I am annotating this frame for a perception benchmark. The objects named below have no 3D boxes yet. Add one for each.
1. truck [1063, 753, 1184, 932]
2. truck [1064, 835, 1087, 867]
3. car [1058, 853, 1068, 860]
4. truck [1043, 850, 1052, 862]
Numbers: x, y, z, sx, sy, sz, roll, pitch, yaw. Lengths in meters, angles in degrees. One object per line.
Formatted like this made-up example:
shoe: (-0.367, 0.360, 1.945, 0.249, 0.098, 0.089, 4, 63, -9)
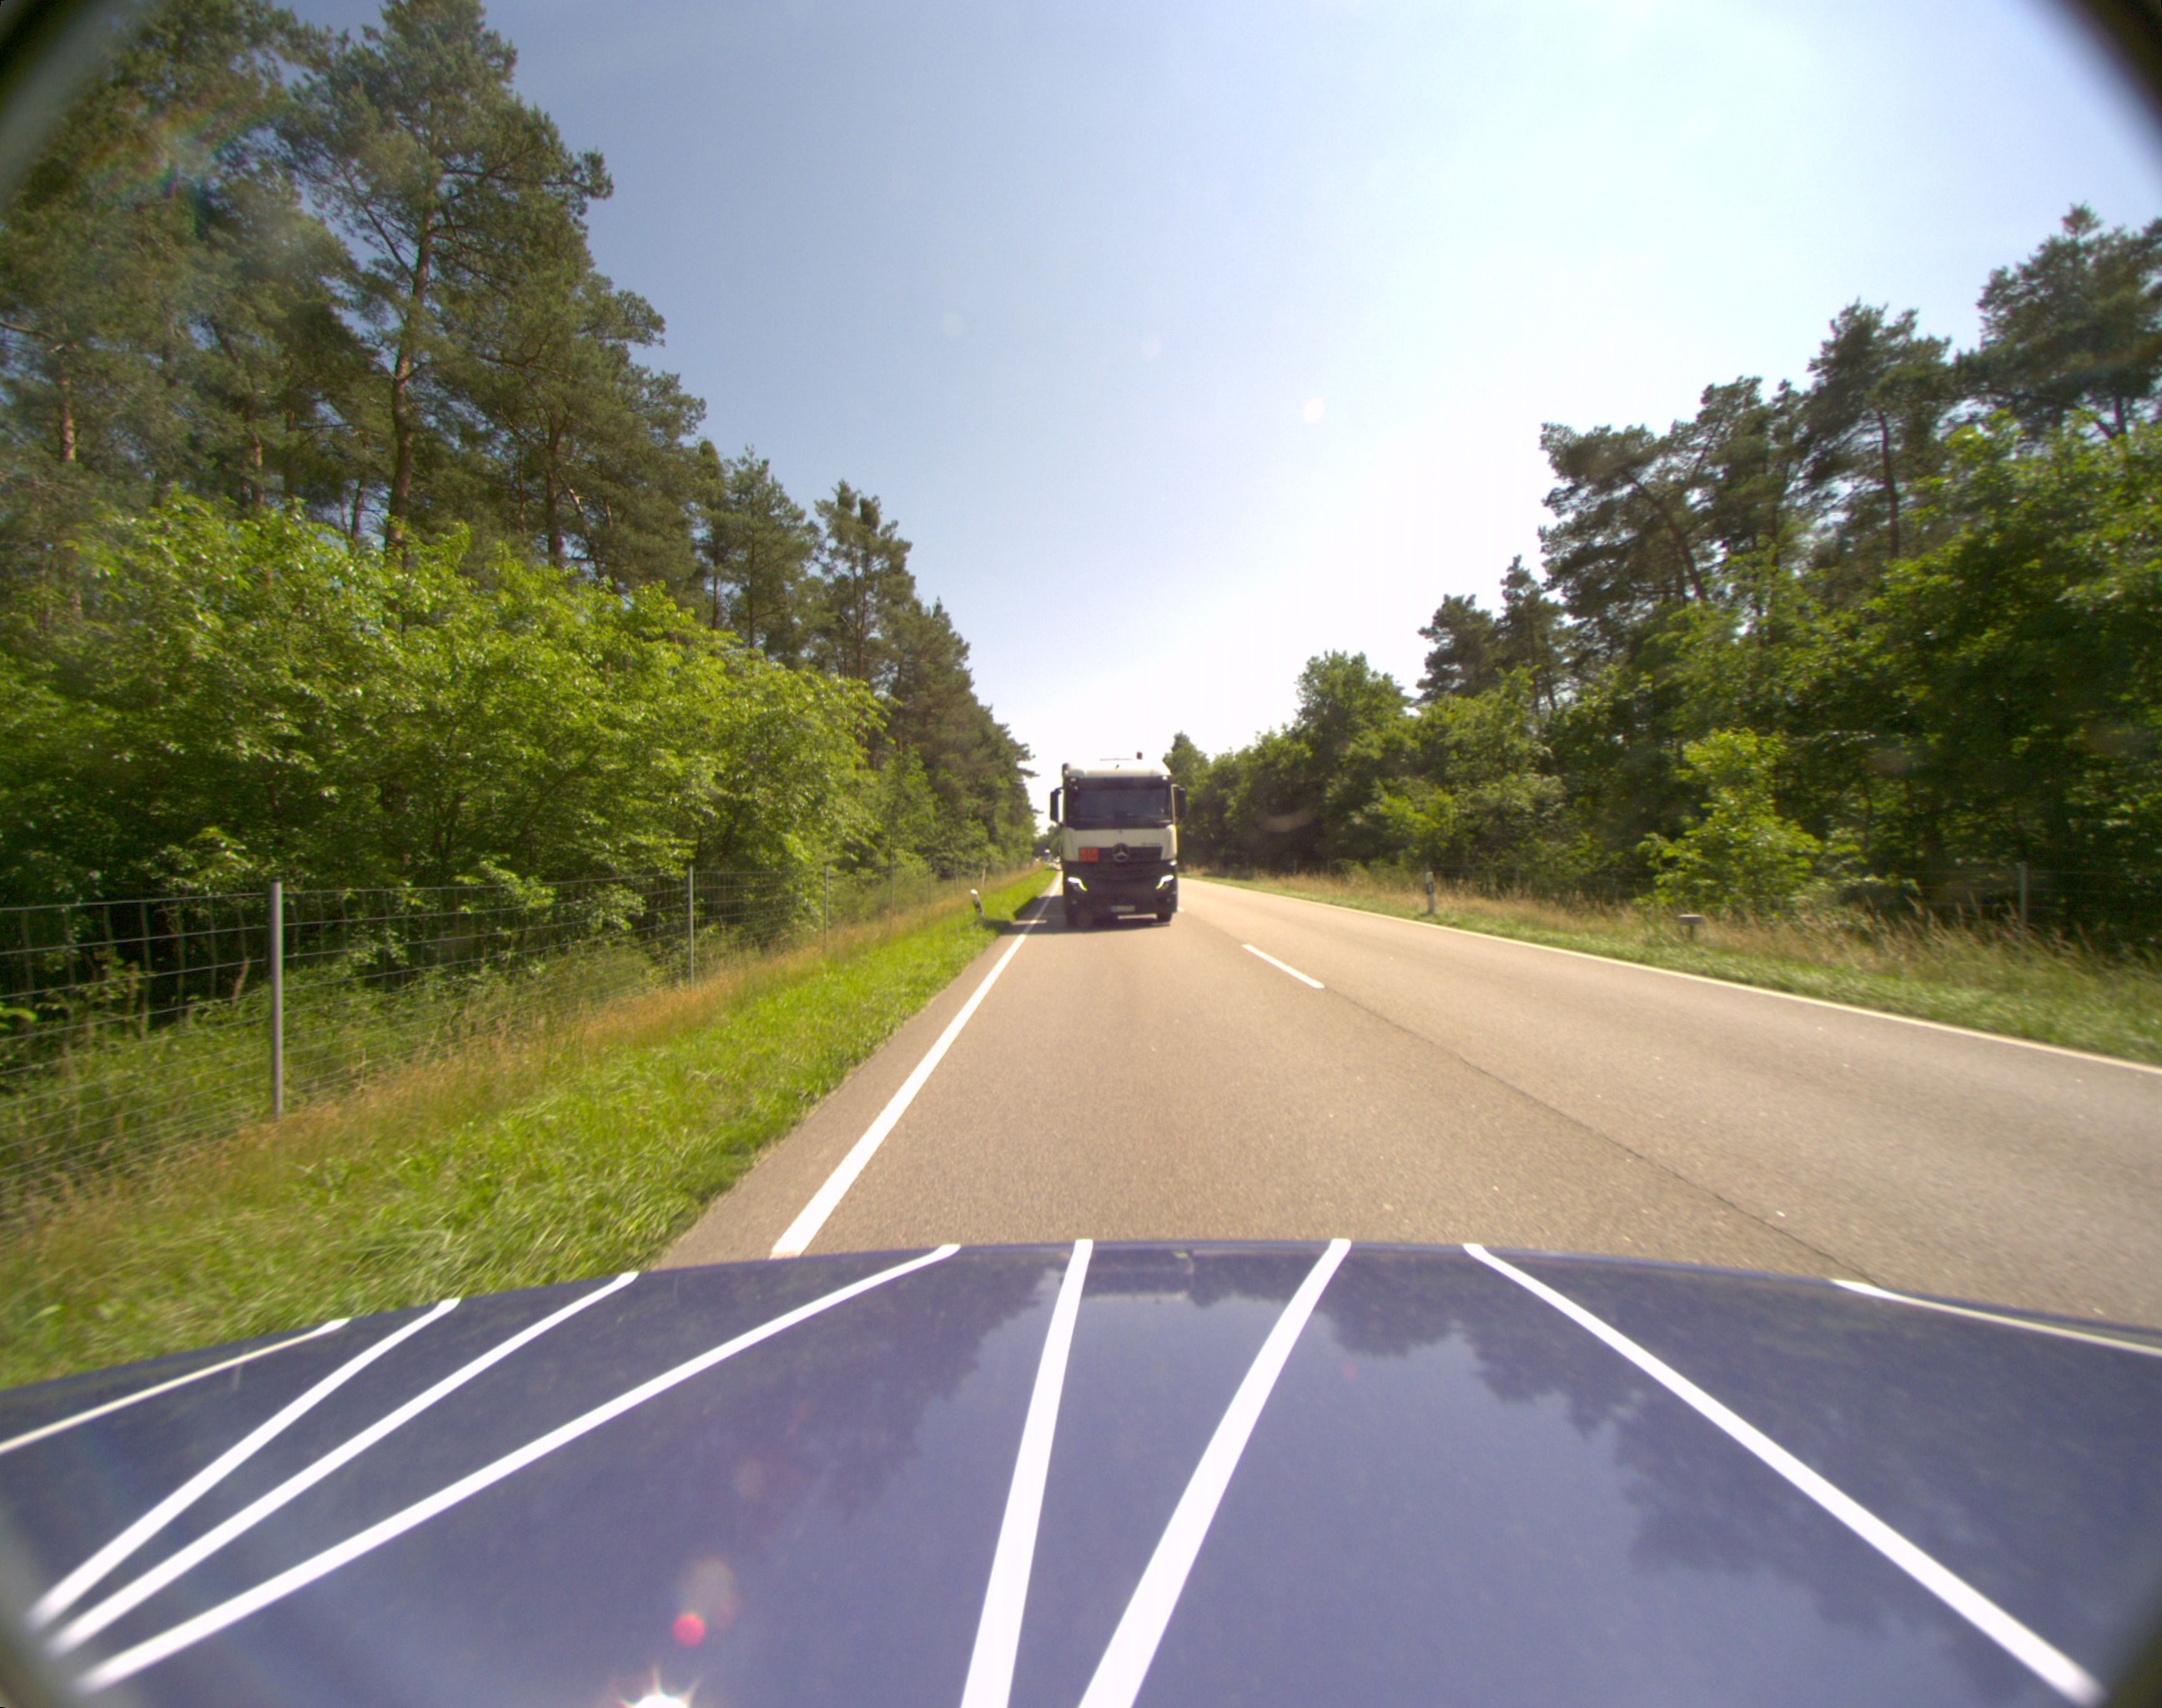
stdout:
truck: (0.837, -0.217, 19.050, 2.435, 3.672, 6.456, -1, 0, -1)
truck: (-0.614, -0.326, 89.156, 2.494, 3.618, 6.103, -2, 0, 0)
car: (-3.796, 0.550, 161.170, 1.885, 1.462, 3.999, -1, 0, -3)
truck: (-10.884, 0.563, 244.368, 2.495, 3.619, 6.100, -1, 0, -7)
